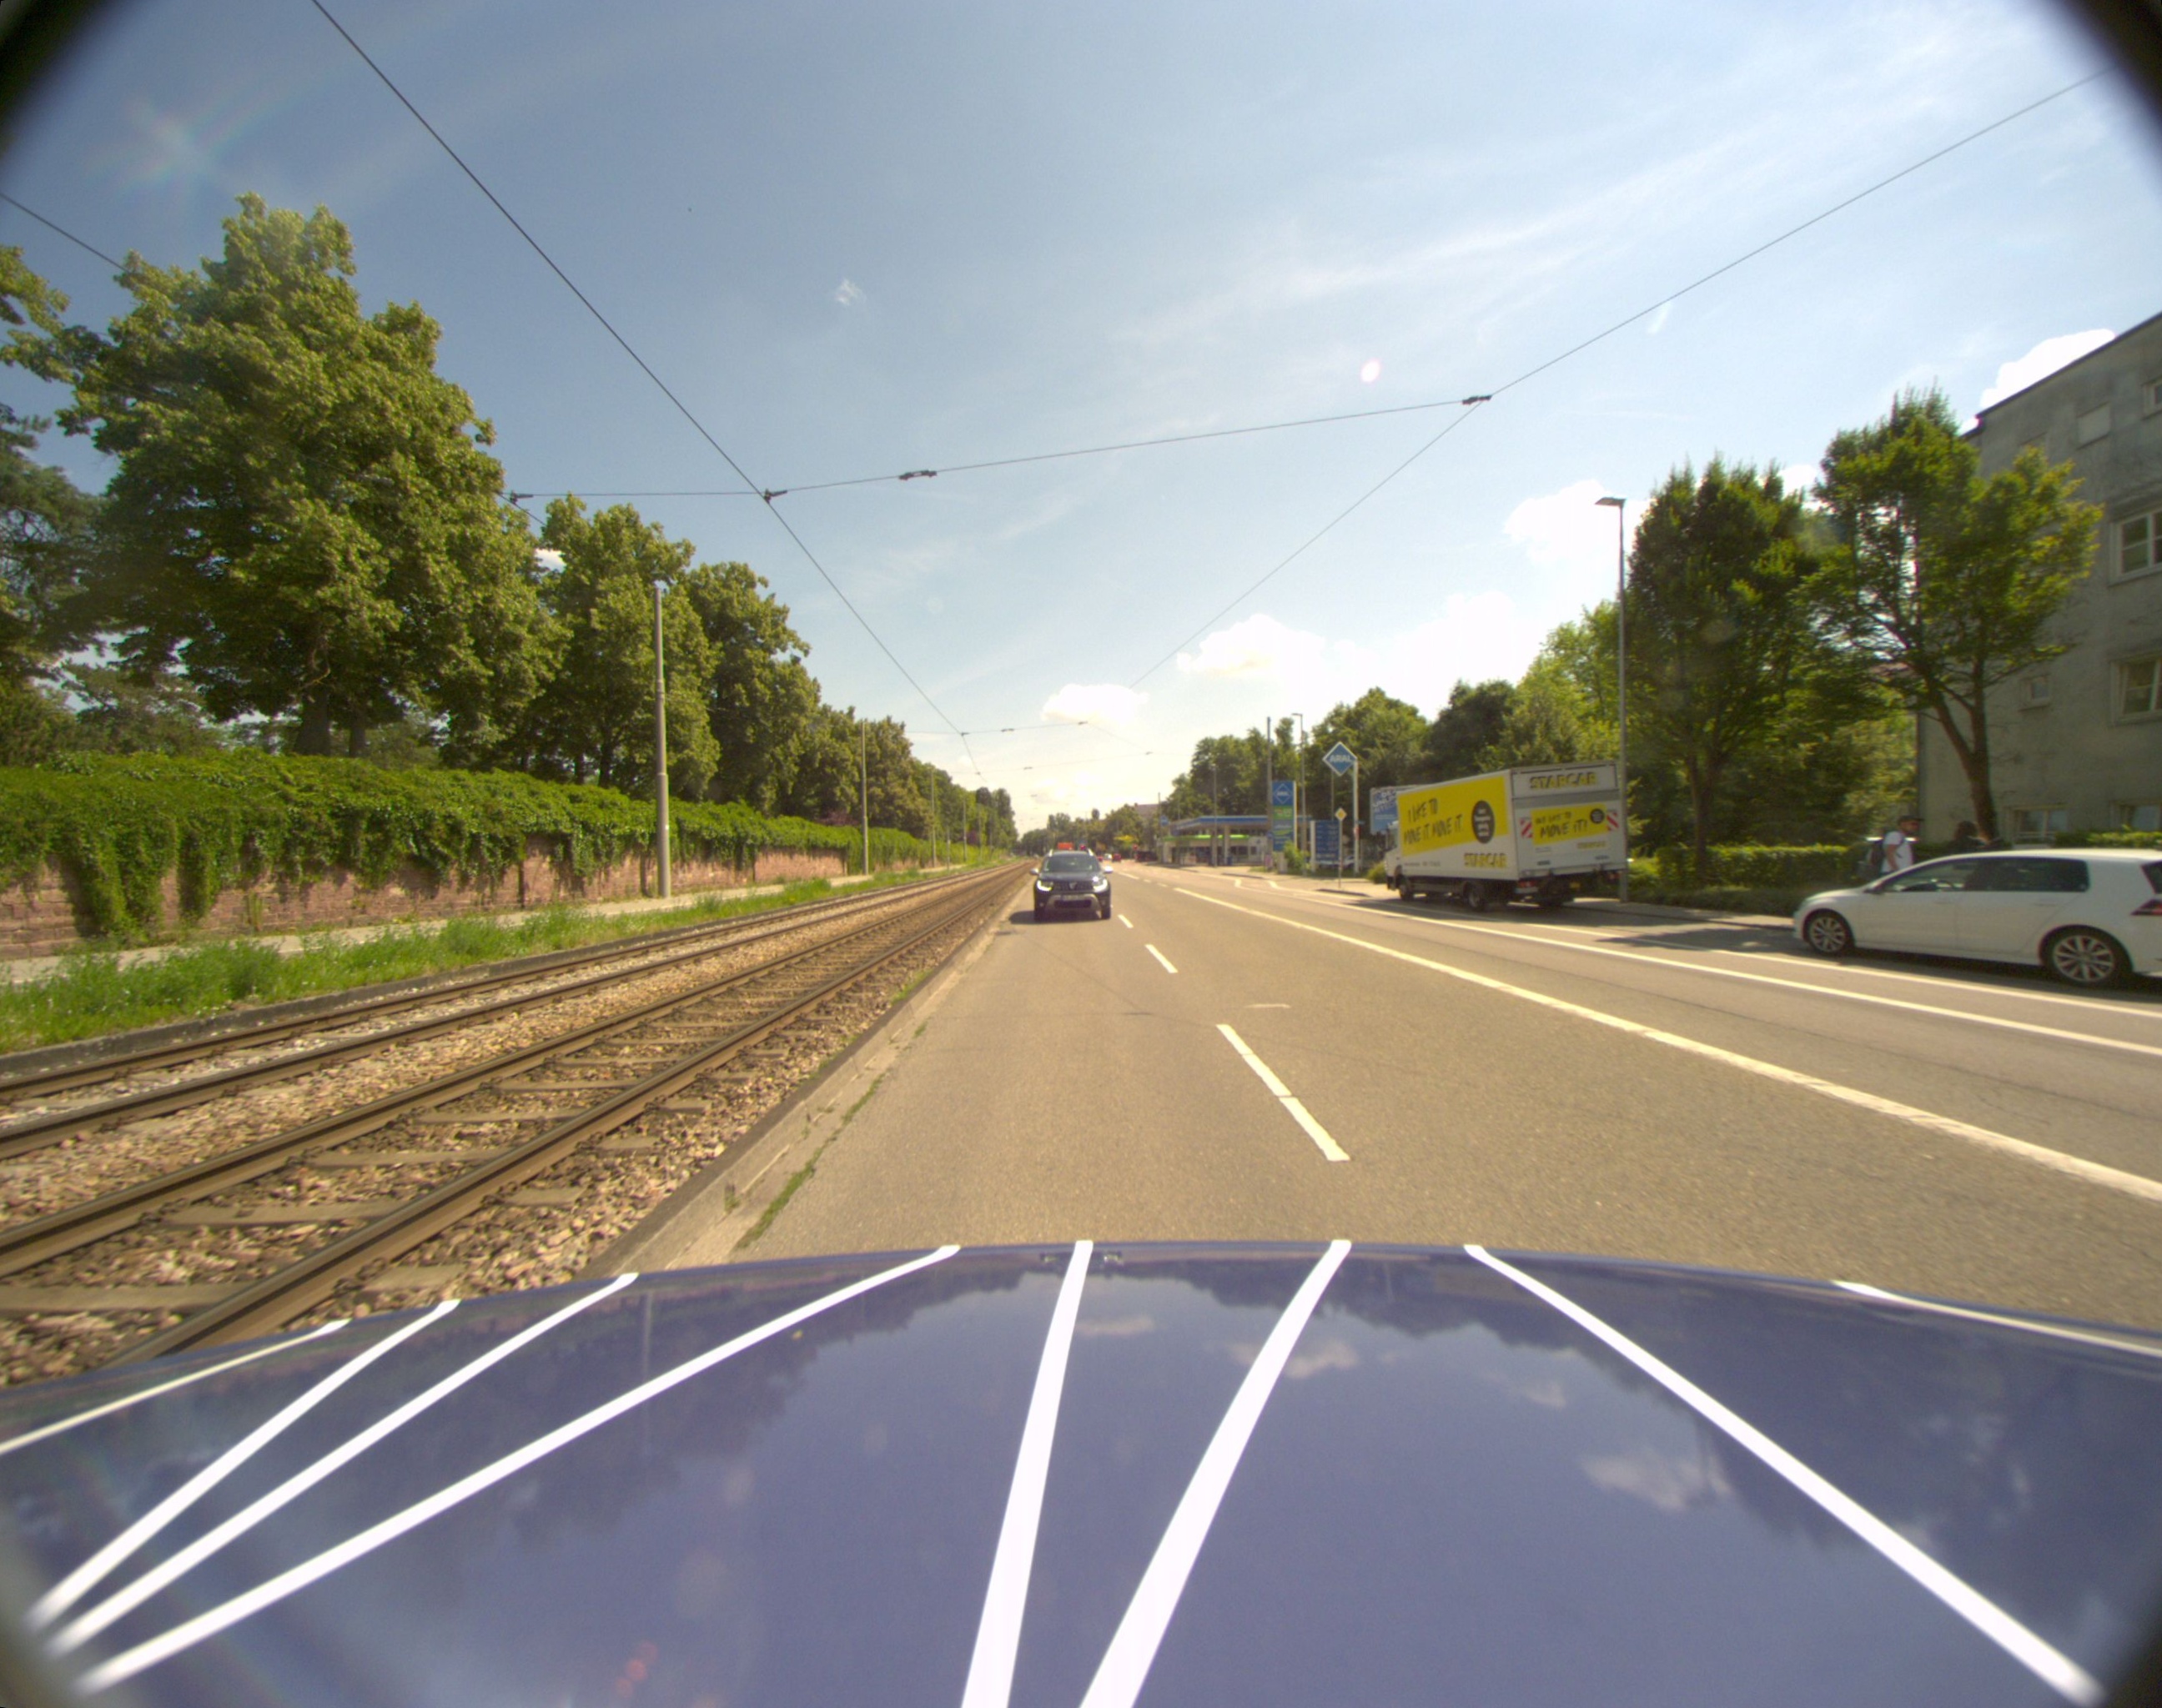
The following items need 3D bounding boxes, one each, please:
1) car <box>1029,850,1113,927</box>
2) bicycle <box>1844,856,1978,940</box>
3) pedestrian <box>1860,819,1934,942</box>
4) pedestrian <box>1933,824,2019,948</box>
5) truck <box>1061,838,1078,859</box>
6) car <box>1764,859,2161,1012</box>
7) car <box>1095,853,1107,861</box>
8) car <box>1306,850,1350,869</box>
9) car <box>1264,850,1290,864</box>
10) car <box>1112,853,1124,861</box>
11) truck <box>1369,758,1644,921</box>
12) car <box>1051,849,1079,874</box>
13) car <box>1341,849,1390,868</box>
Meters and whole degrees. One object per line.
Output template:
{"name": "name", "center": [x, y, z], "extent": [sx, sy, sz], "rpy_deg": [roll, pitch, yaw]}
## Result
{"name": "car", "center": [-0.255, 0.758, 19.239], "extent": [1.802, 1.652, 4.787], "rpy_deg": [-2, 0, -1]}
{"name": "bicycle", "center": [13.918, 0.694, 12.813], "extent": [0.457, 1.308, 1.665], "rpy_deg": [-1, 0, 1]}
{"name": "pedestrian", "center": [13.215, 0.415, 12.331], "extent": [0.642, 1.911, 0.710], "rpy_deg": [0, 1, 30]}
{"name": "pedestrian", "center": [13.439, 0.463, 11.419], "extent": [0.685, 1.784, 0.702], "rpy_deg": [-1, 1, -28]}
{"name": "truck", "center": [-1.991, -0.924, 136.093], "extent": [2.845, 3.574, 8.704], "rpy_deg": [-2, 1, 0]}
{"name": "car", "center": [11.128, 0.794, 9.241], "extent": [1.660, 1.402, 4.396], "rpy_deg": [-1, 0, -1]}
{"name": "car", "center": [3.651, 0.490, 139.289], "extent": [1.998, 1.379, 4.000], "rpy_deg": [-1, 0, 0]}
{"name": "car", "center": [18.166, 0.421, 56.058], "extent": [1.818, 1.329, 3.999], "rpy_deg": [-1, 0, -1]}
{"name": "car", "center": [23.336, 0.325, 90.486], "extent": [1.849, 1.661, 3.999], "rpy_deg": [-1, 0, -3]}
{"name": "car", "center": [6.891, 0.477, 140.374], "extent": [1.998, 1.379, 4.000], "rpy_deg": [-1, 0, 0]}
{"name": "truck", "center": [11.129, -0.338, 21.190], "extent": [2.839, 3.528, 8.169], "rpy_deg": [-3, 0, -1]}
{"name": "car", "center": [-1.065, 0.480, 52.871], "extent": [1.801, 1.683, 4.144], "rpy_deg": [-1, 0, 1]}
{"name": "car", "center": [25.101, 0.394, 67.118], "extent": [3.991, 1.535, 1.822], "rpy_deg": [-1, 1, 18]}
